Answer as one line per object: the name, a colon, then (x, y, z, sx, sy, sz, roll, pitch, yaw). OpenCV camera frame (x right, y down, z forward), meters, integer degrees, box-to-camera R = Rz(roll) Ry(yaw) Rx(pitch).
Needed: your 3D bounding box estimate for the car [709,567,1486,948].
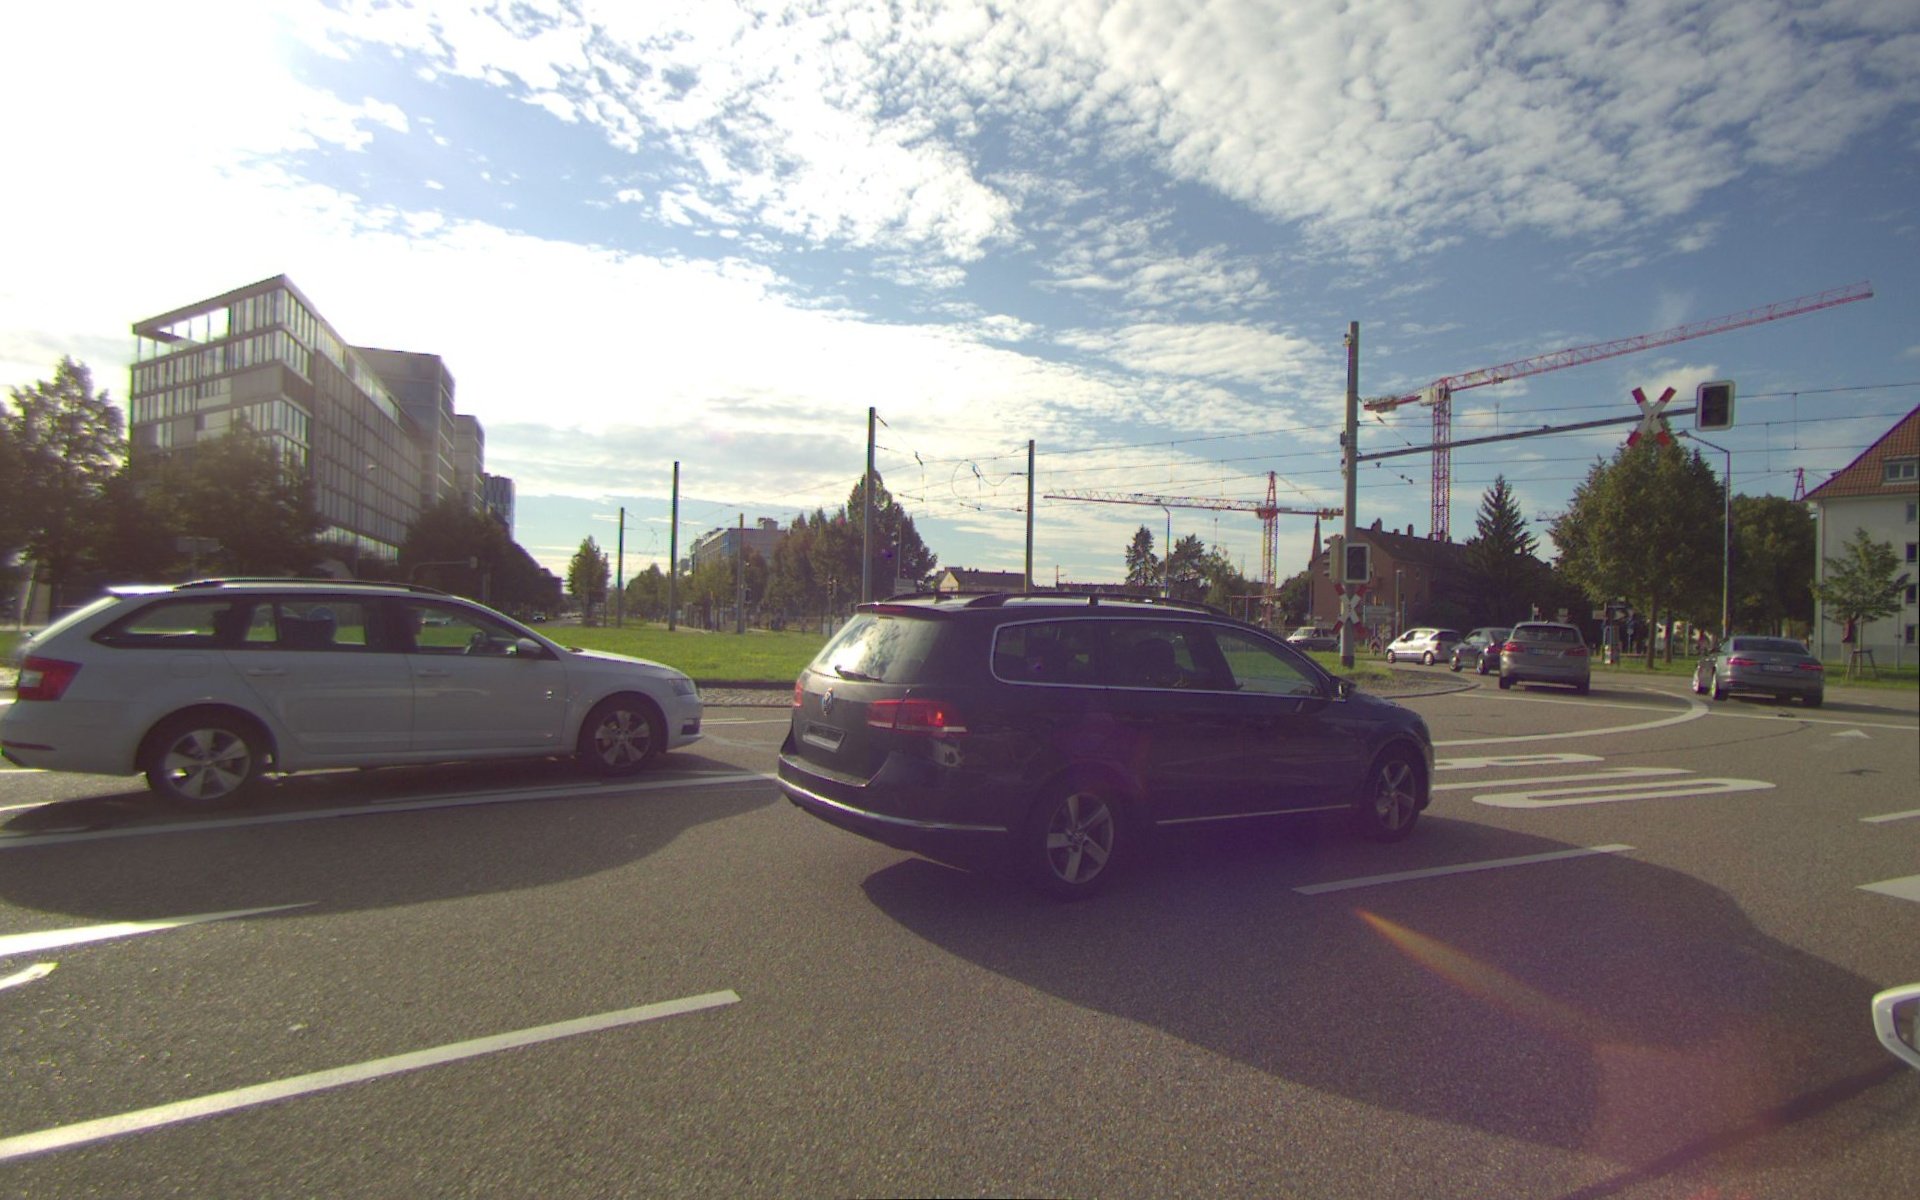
car: (1.080, 0.687, 6.380, 4.796, 1.587, 1.980, 2, 1, -35)

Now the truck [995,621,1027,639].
truck: (7.056, 4.219, 140.665, 2.036, 2.358, 5.603, 2, -2, -25)

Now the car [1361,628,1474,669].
car: (19.491, 2.036, 43.023, 1.828, 1.497, 4.436, 3, -1, -19)

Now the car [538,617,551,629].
car: (-73.370, 3.984, 177.475, 1.970, 2.040, 3.981, 2, -1, -20)

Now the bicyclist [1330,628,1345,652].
bicyclist: (25.937, 2.739, 68.932, 0.941, 1.595, 0.772, 0, -1, 22)

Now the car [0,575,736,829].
car: (-4.270, 0.616, 7.819, 4.592, 1.464, 1.838, 1, 0, -35)

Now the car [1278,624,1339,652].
car: (25.825, 2.813, 74.329, 4.616, 1.928, 1.883, 3, -1, -35)

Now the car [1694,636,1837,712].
car: (18.129, 1.604, 22.837, 1.824, 1.464, 4.706, 2, -1, 30)

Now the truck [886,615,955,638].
truck: (-4.762, 3.217, 121.242, 7.747, 2.601, 3.058, 2, -2, -23)

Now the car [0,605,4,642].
car: (-41.230, 0.934, 40.215, 1.655, 1.521, 3.988, -1, -2, 28)

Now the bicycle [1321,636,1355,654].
bicycle: (25.939, 3.089, 68.920, 2.108, 1.152, 0.772, 0, -1, 22)

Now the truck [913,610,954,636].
truck: (-3.656, 3.066, 135.132, 2.779, 3.249, 7.270, 2, -2, -25)

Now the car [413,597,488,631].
car: (-35.448, 1.023, 70.100, 2.025, 2.293, 6.026, -1, -2, 2)

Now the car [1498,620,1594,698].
car: (13.716, 1.343, 23.686, 1.741, 1.593, 4.062, 2, -1, 28)

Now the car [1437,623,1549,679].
car: (16.965, 1.568, 32.182, 1.959, 1.561, 4.003, 4, -1, 10)

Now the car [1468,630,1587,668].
car: (24.851, 2.119, 44.182, 1.828, 1.445, 4.435, 3, -1, -19)
